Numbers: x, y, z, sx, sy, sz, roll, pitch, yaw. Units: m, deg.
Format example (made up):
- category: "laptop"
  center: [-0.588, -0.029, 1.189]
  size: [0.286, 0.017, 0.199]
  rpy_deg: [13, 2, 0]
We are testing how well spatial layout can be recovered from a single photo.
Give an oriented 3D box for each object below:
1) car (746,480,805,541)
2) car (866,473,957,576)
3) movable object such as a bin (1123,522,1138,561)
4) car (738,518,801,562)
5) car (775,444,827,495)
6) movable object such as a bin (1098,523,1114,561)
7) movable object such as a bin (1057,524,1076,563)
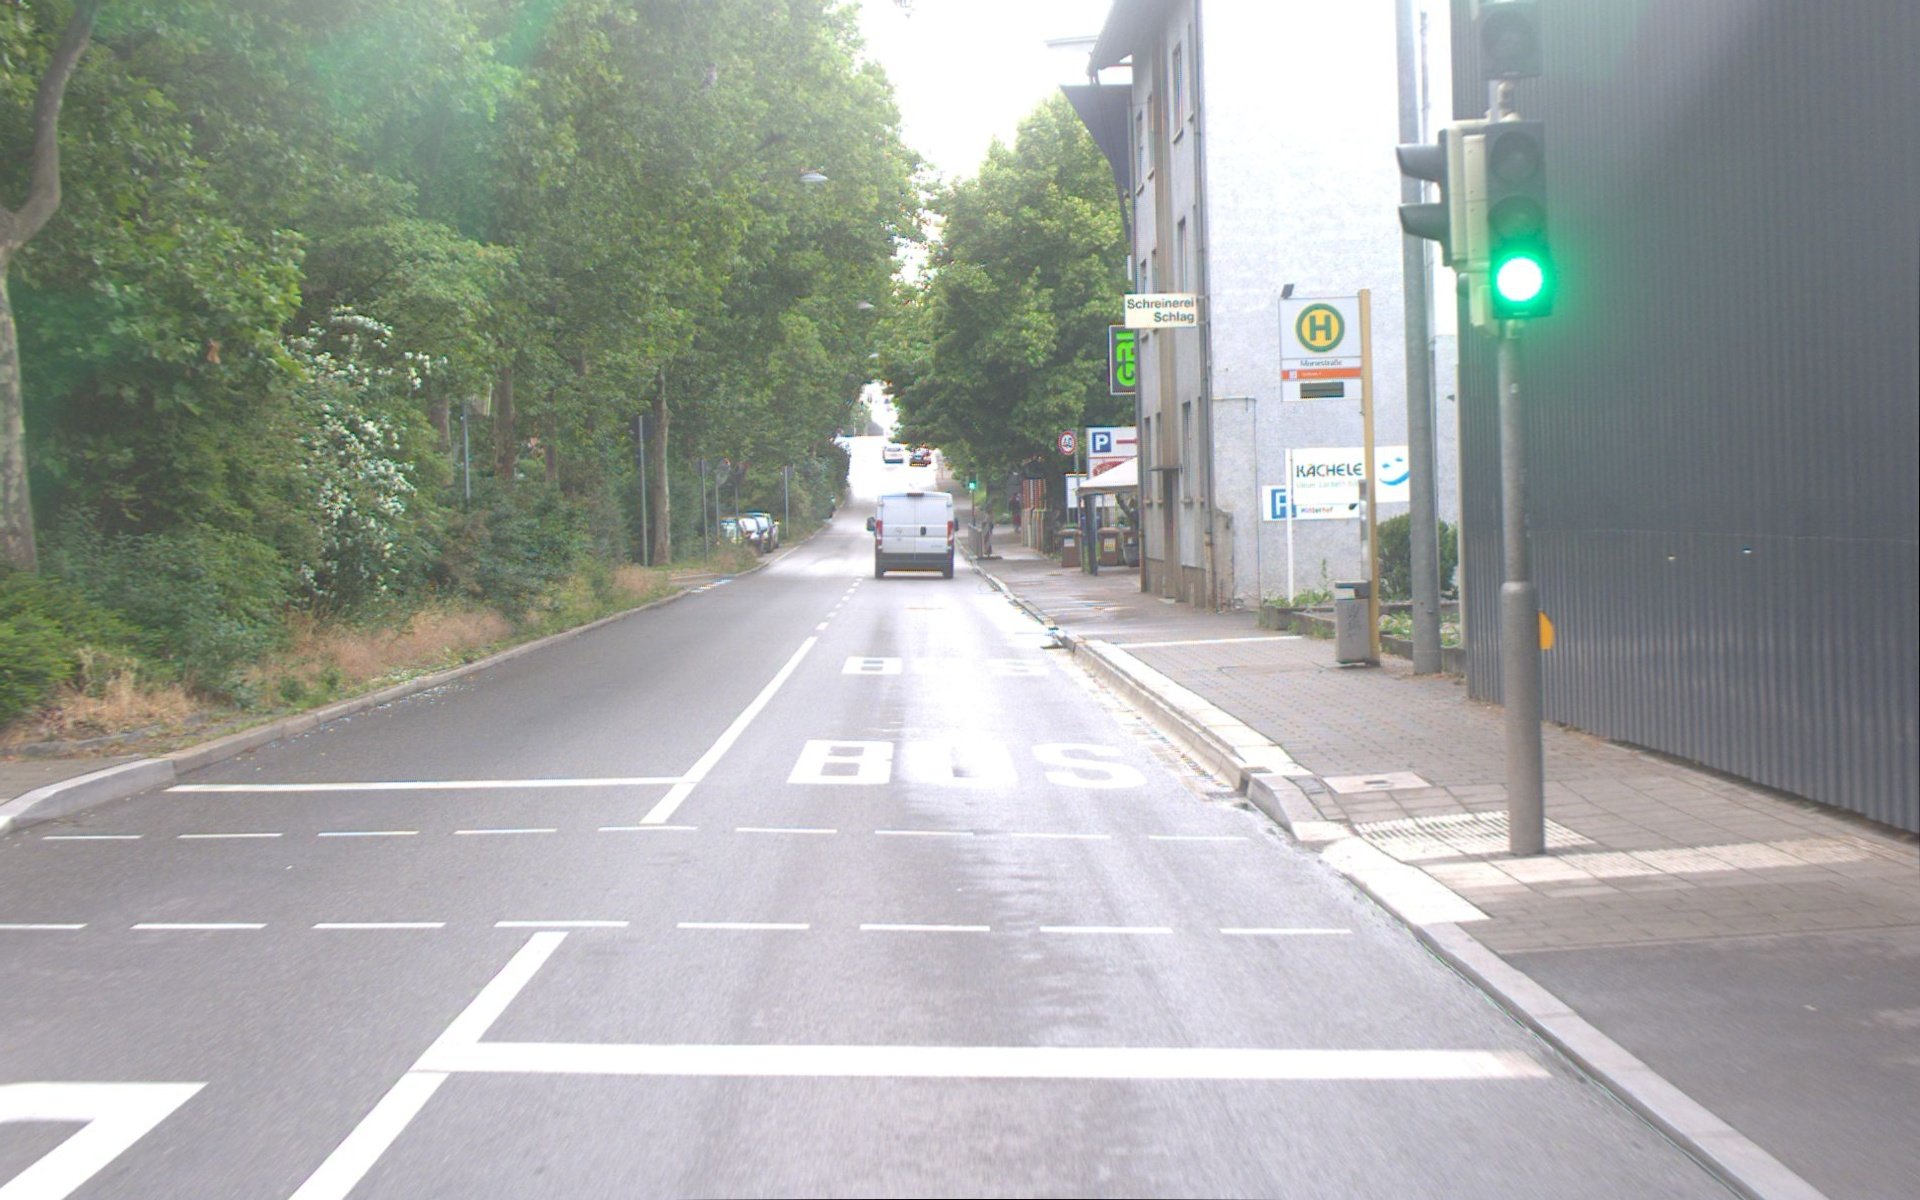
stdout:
- category: "car"
  center: [-8.030, -3.891, 150.072]
  size: [2.215, 2.525, 4.609]
  rpy_deg: [1, 0, 1]
- category: "car"
  center: [-1.241, -1.938, 89.474]
  size: [2.282, 2.544, 4.000]
  rpy_deg: [-1, 0, 0]
- category: "movable object such as a bin"
  center: [4.790, -1.643, 96.598]
  size: [0.356, 1.063, 0.358]
  rpy_deg: [1, -1, -7]
- category: "car"
  center: [-7.927, -2.478, 143.370]
  size: [2.215, 1.685, 4.609]
  rpy_deg: [-1, 0, 1]
- category: "car"
  center: [-7.925, -6.513, 171.759]
  size: [2.215, 2.286, 4.609]
  rpy_deg: [1, -1, 1]
- category: "movable object such as a bin"
  center: [4.101, -1.637, 96.614]
  size: [0.399, 1.063, 0.358]
  rpy_deg: [-1, 0, -7]
- category: "movable object such as a bin"
  center: [2.997, -1.574, 96.571]
  size: [0.399, 1.063, 0.358]
  rpy_deg: [-4, 0, -7]
